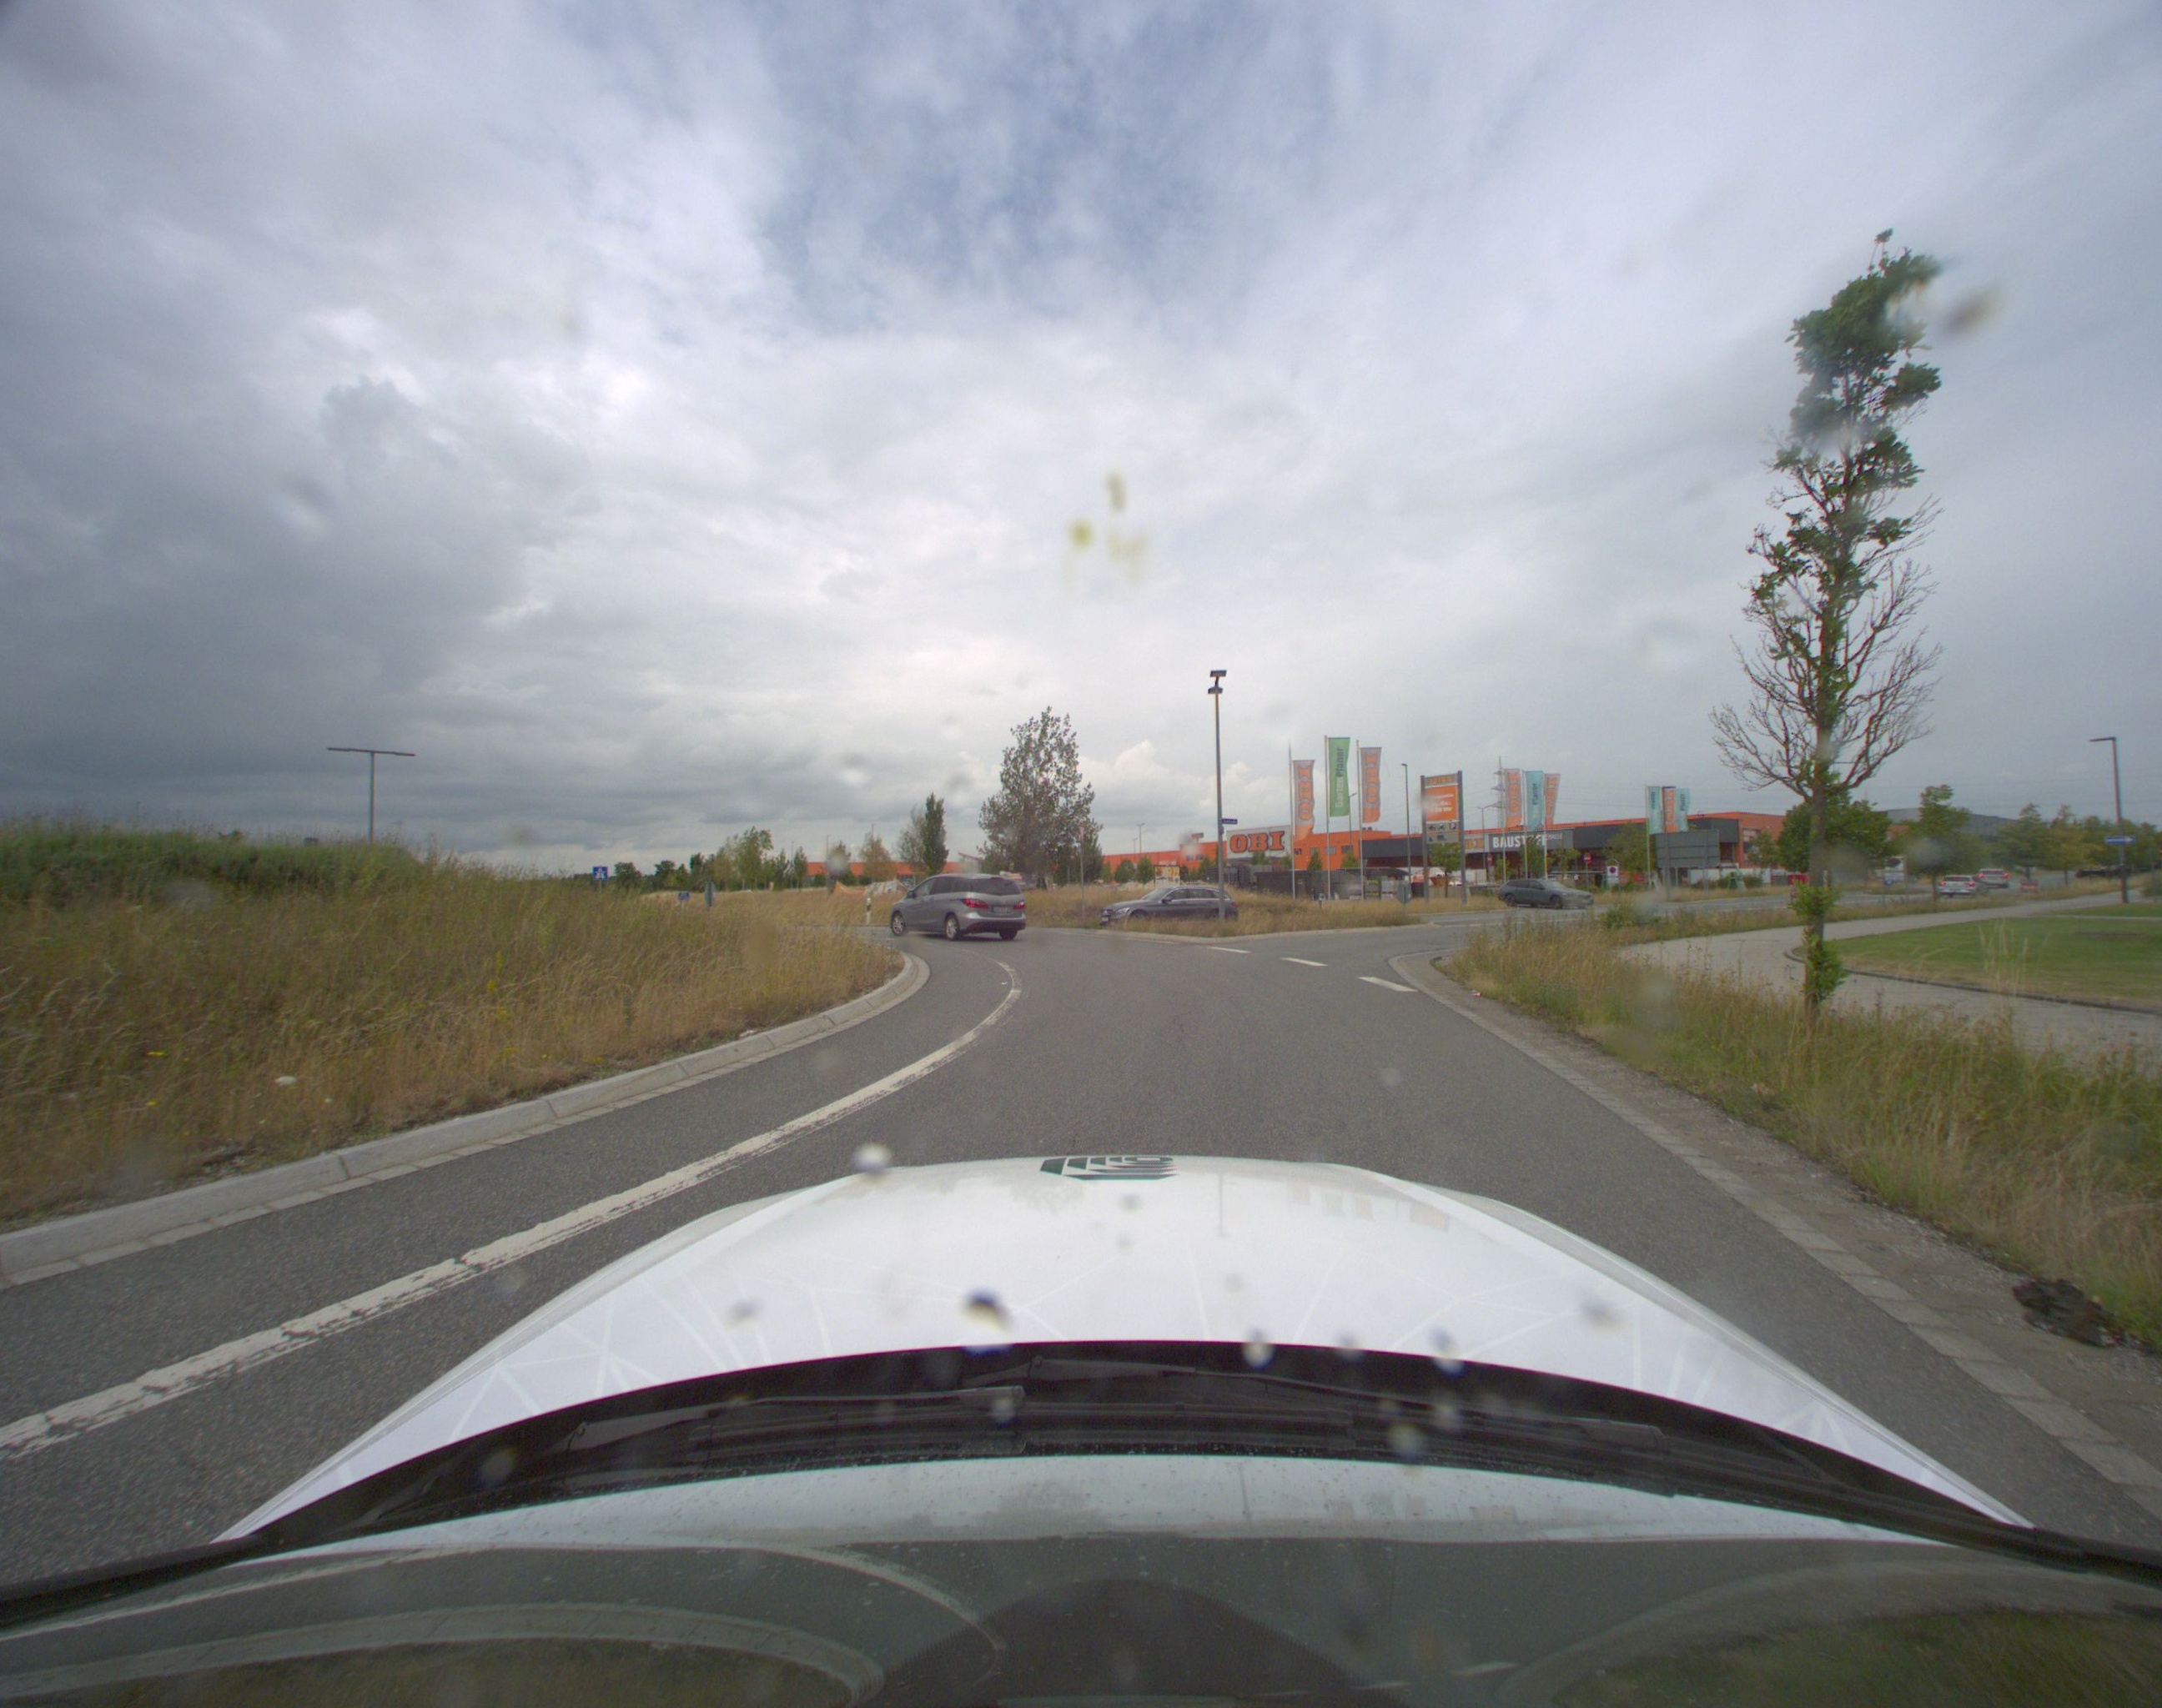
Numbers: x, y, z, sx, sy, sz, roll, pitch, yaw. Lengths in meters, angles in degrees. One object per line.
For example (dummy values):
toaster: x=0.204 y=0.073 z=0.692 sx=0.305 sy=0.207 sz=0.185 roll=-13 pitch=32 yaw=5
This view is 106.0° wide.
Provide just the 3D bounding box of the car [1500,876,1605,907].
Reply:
car: x=24.614 y=2.002 z=42.707 sx=1.998 sy=1.507 sz=4.655 roll=1 pitch=-4 yaw=-16

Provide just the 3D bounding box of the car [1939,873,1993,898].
car: x=56.330 y=1.988 z=51.821 sx=4.016 sy=1.464 sz=1.794 roll=1 pitch=0 yaw=-35

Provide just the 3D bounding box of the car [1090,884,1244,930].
car: x=2.823 y=1.699 z=26.559 sx=4.694 sy=1.404 sz=1.913 roll=1 pitch=-3 yaw=-25

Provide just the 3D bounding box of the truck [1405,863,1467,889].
truck: x=37.890 y=2.382 z=87.098 sx=2.451 sy=2.485 sz=5.486 roll=3 pitch=-5 yaw=-38

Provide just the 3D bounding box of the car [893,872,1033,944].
car: x=-3.037 y=1.306 z=20.397 sx=1.752 sy=1.599 sz=3.952 roll=2 pitch=-3 yaw=-38
